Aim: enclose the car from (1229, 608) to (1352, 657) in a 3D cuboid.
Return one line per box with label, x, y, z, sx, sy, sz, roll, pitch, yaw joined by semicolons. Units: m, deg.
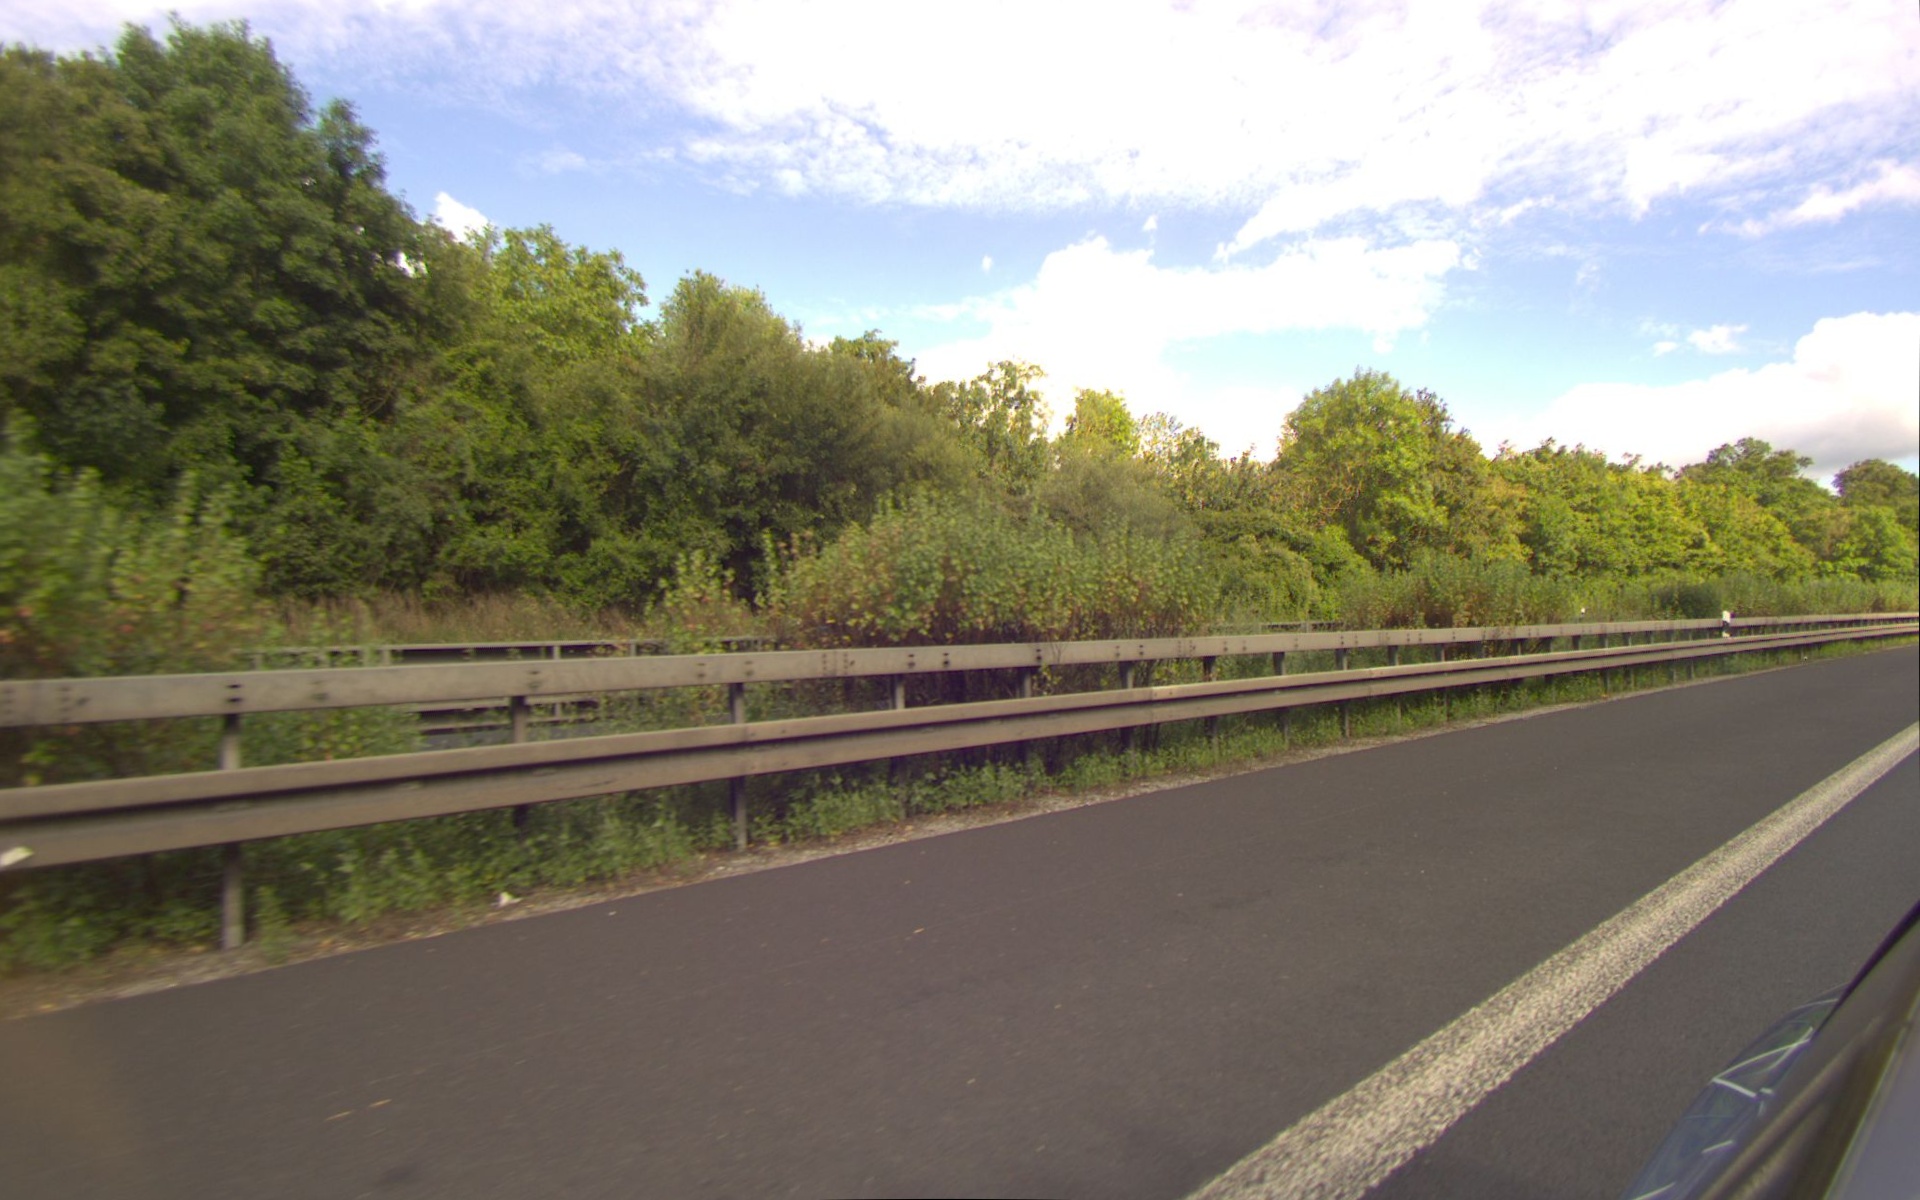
car;11.536;1.082;35.196;4.783;1.529;1.771;0;0;-39
